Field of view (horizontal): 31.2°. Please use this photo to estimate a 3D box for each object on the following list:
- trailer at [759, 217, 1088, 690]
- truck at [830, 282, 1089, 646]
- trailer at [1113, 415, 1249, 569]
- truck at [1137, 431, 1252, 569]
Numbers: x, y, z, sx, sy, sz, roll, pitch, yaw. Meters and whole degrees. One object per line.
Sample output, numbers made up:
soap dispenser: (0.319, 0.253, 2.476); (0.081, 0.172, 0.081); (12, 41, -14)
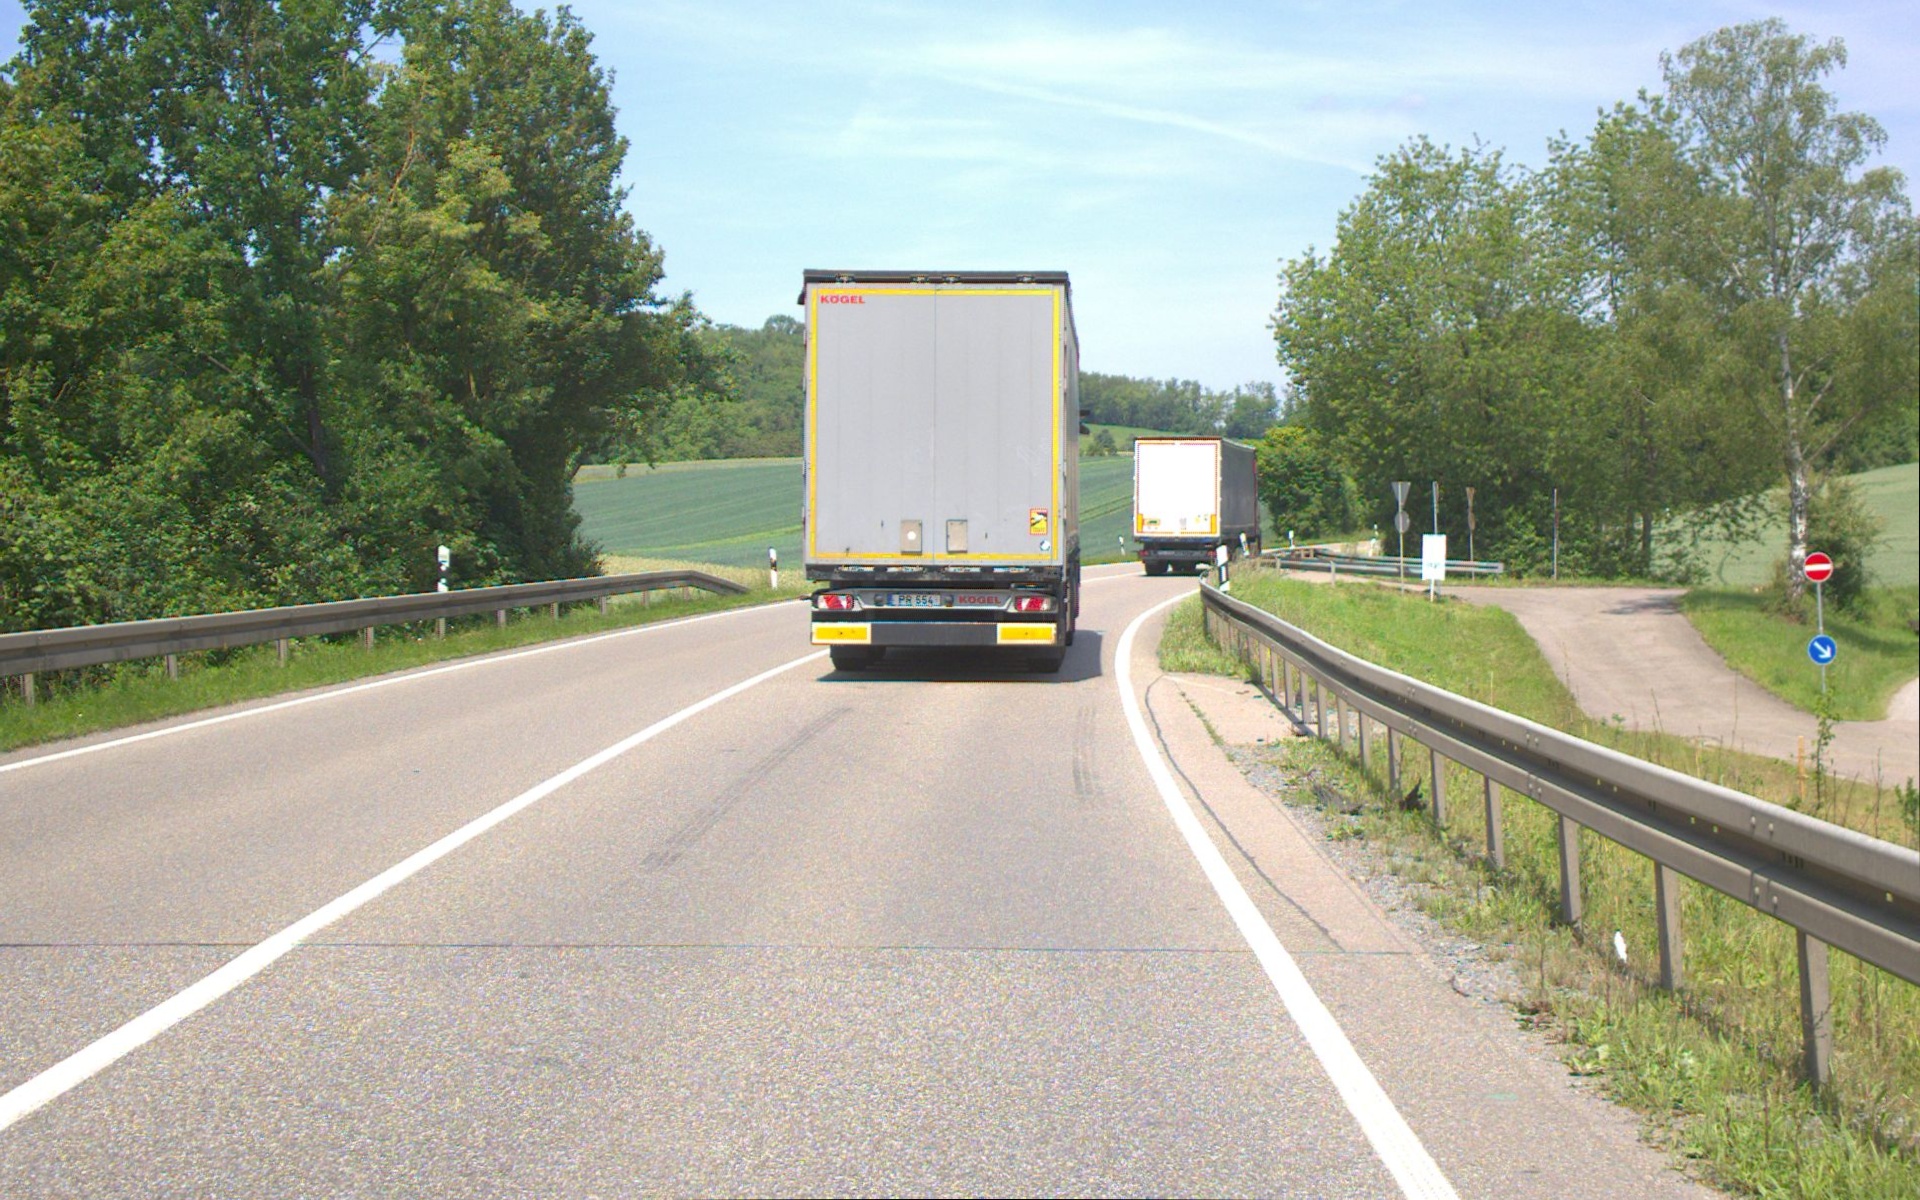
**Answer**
trailer: (-0.131, -1.587, 39.640); (3.118, 4.484, 13.886); (0, 2, 2)
truck: (0.120, -1.771, 45.807); (3.118, 4.479, 6.811); (0, 2, 3)
trailer: (6.910, -3.158, 105.563); (3.366, 4.302, 13.860); (0, 0, 7)
truck: (7.665, -3.185, 111.651); (3.366, 4.302, 6.738); (0, 0, 7)
